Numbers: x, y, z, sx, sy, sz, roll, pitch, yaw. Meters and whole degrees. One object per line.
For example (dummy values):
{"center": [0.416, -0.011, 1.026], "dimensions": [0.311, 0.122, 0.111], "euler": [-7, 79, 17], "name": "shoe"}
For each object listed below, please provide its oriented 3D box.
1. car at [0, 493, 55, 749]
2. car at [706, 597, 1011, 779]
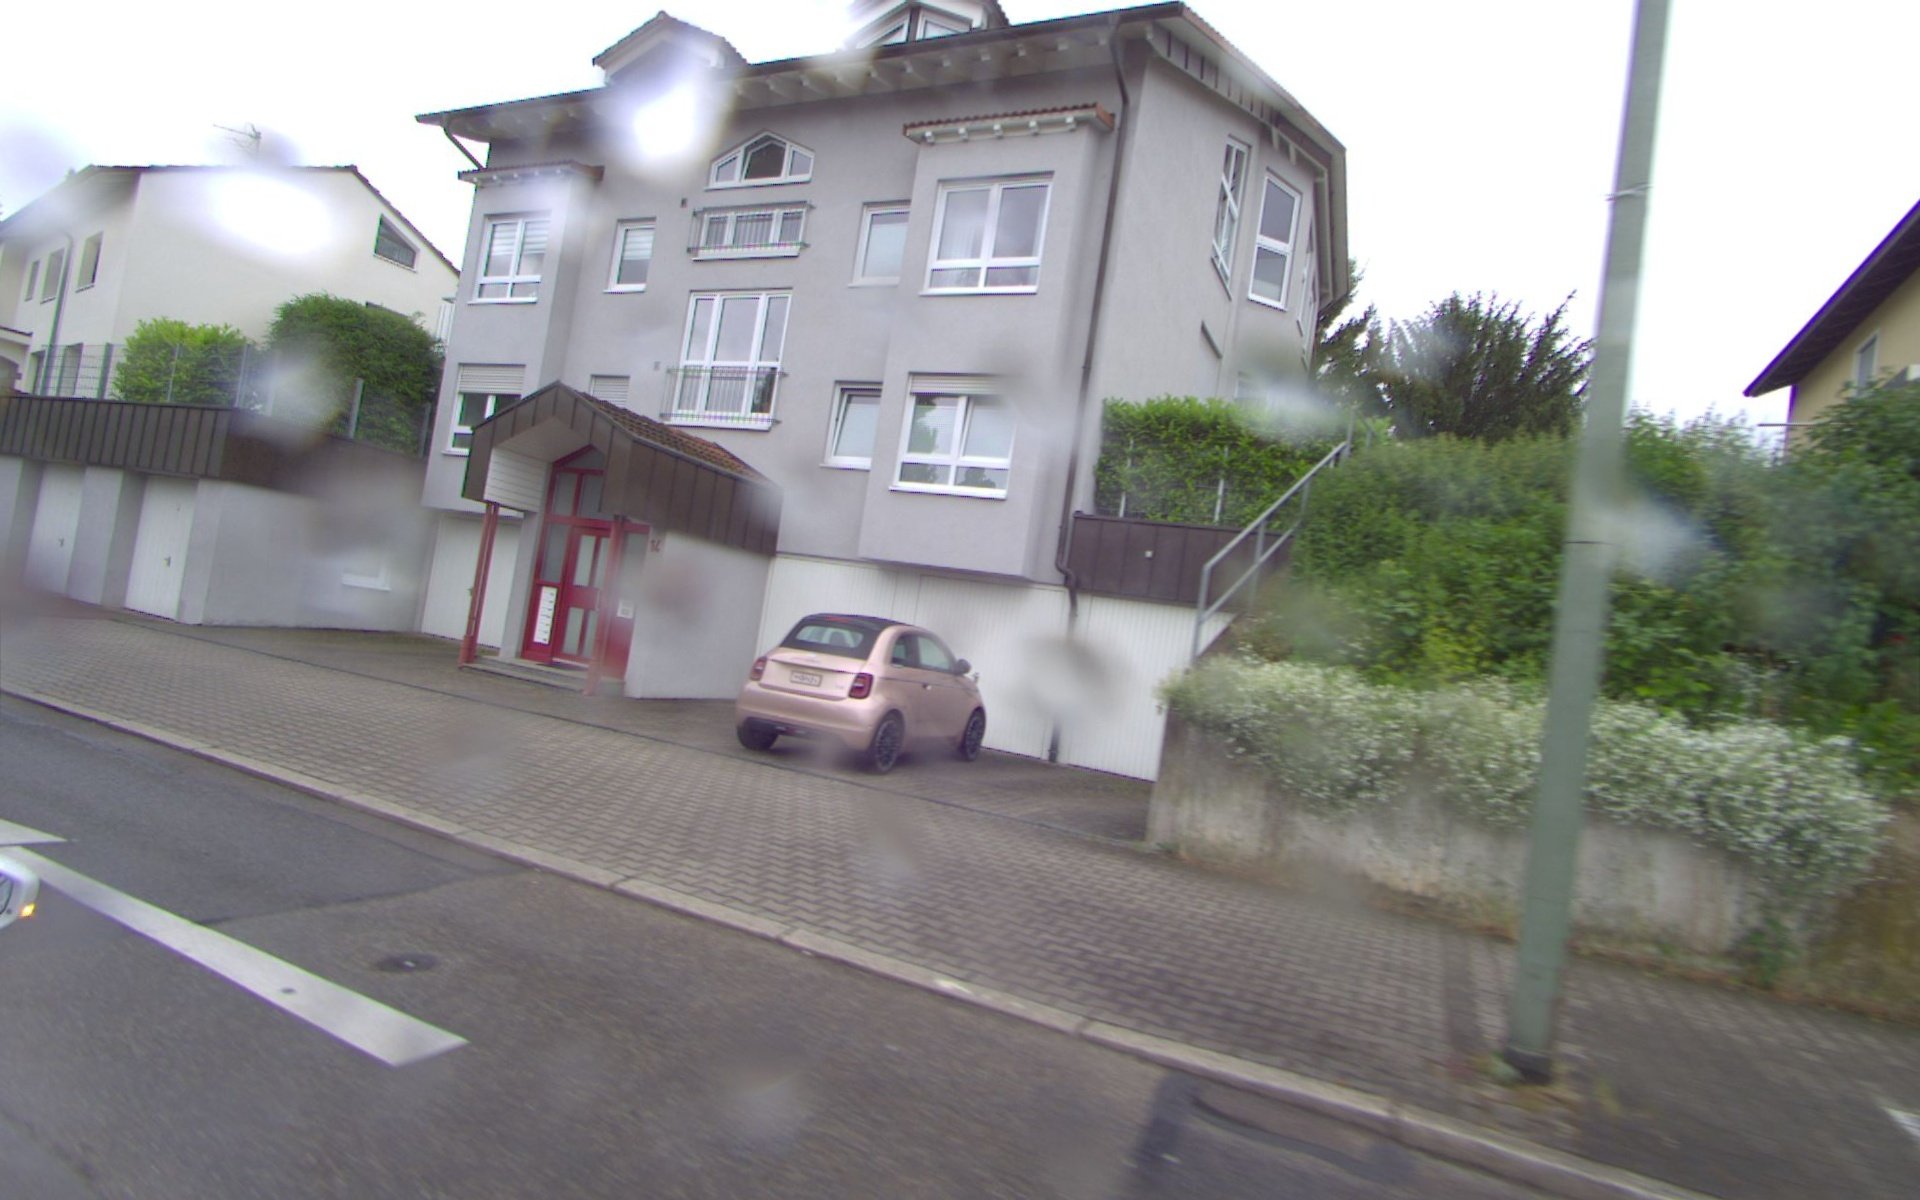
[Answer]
{"center": [-8.453, -0.099, 6.677], "dimensions": [4.582, 1.602, 2.001], "euler": [4, -5, 27], "name": "car"}
{"center": [-0.941, 1.001, 11.385], "dimensions": [1.779, 1.501, 3.647], "euler": [7, -3, 22], "name": "car"}
